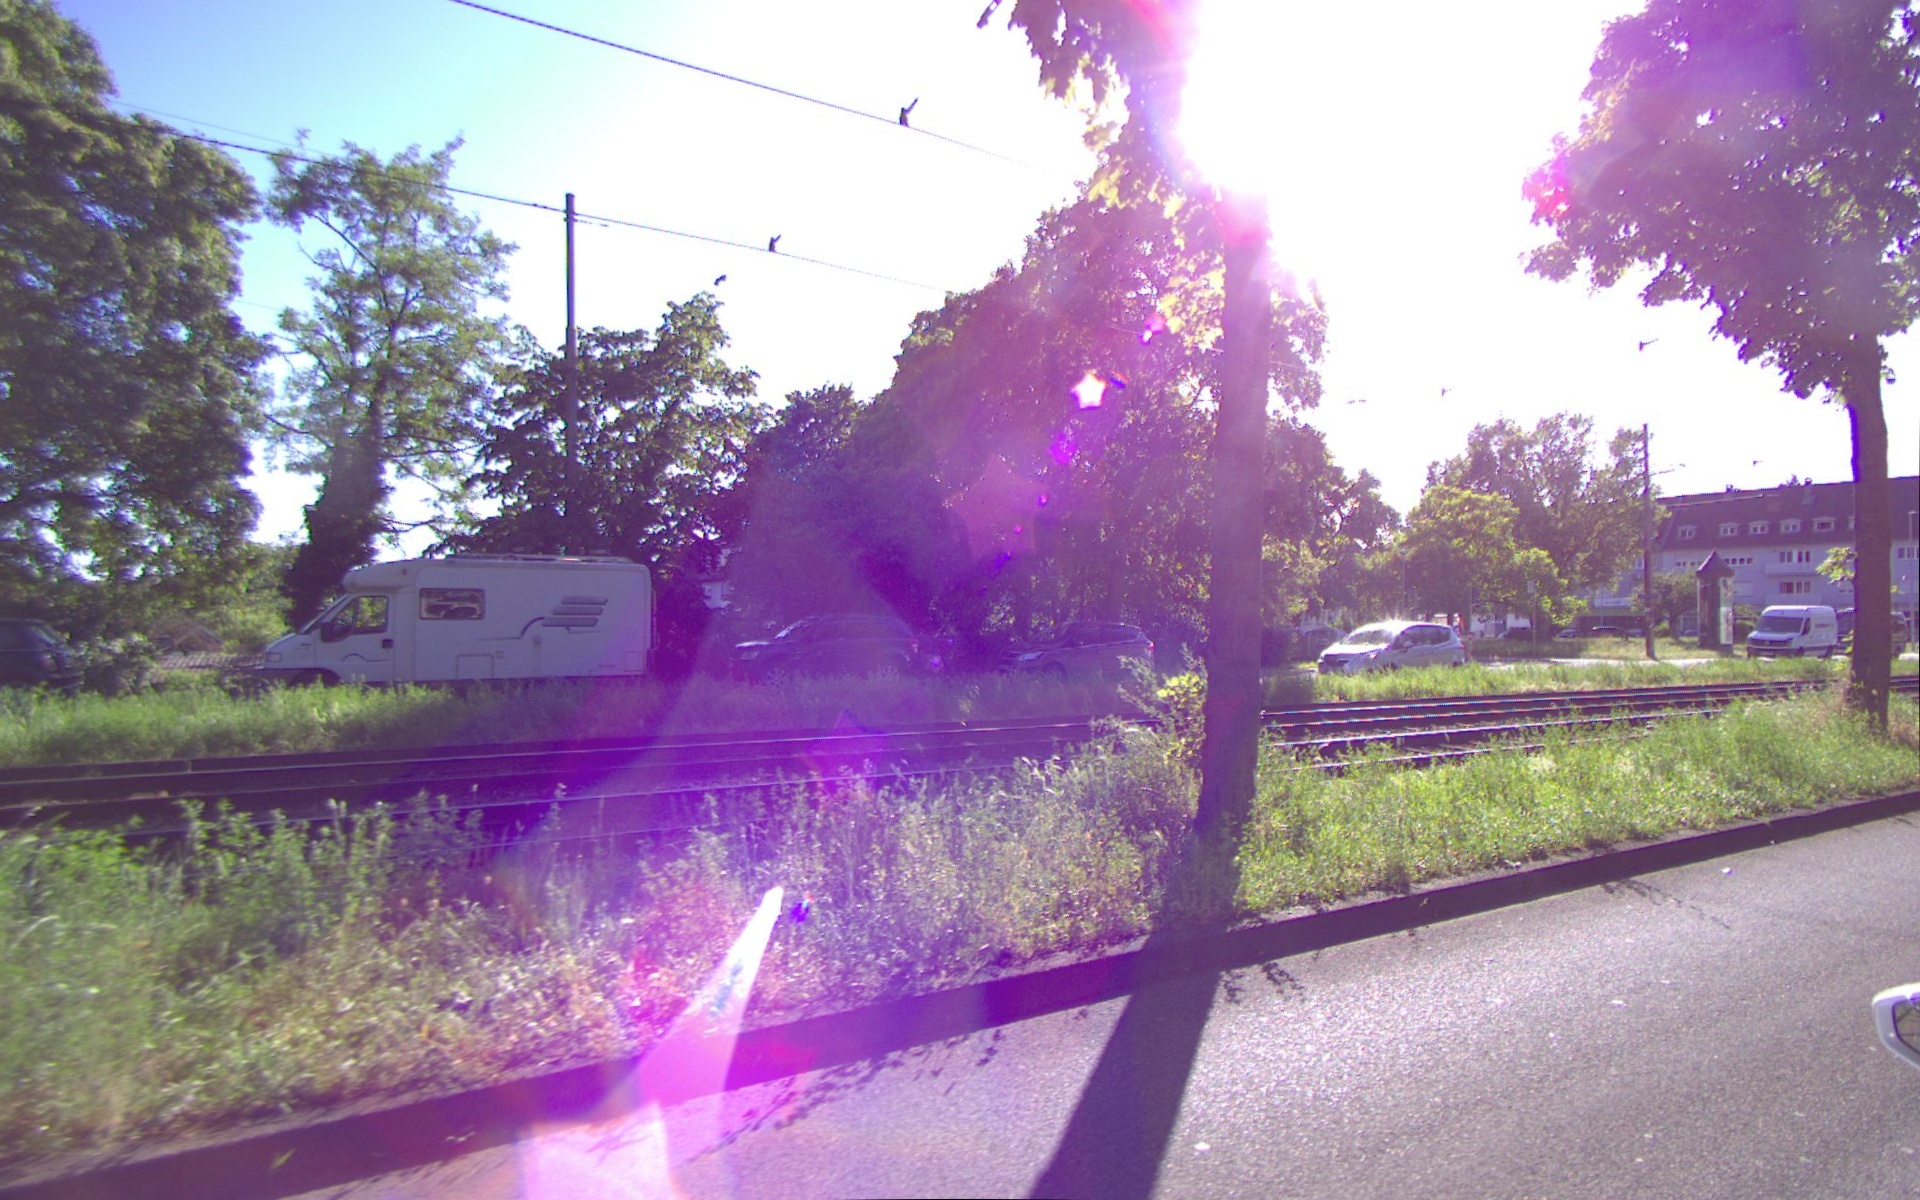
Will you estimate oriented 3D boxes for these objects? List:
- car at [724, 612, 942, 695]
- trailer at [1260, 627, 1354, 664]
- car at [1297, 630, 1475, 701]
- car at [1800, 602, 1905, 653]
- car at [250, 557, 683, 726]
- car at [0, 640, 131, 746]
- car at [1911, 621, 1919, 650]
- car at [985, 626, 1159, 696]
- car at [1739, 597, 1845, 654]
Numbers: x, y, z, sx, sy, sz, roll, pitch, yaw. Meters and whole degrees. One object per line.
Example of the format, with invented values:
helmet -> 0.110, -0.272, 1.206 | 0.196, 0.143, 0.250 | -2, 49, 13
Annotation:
car -> -2.750, 1.128, 22.086 | 4.481, 1.644, 1.614 | 1, 0, -31
trailer -> 15.811, 2.041, 45.853 | 3.703, 1.524, 1.745 | 0, -1, 40
car -> 10.485, 1.544, 24.649 | 4.390, 1.548, 1.719 | 1, 0, -30
car -> 45.477, 1.408, 51.134 | 6.390, 2.408, 2.172 | 1, 0, -31
car -> -8.695, 0.655, 18.292 | 6.720, 2.615, 2.214 | 0, 1, -31
car -> -15.013, 1.361, 14.862 | 3.952, 1.454, 1.703 | 1, 0, -30
car -> 57.388, 2.114, 58.381 | 4.718, 1.628, 1.814 | 1, 0, -31
car -> 2.859, 1.498, 25.396 | 4.196, 1.605, 1.667 | 1, 0, -29
car -> 39.464, 1.216, 47.622 | 6.068, 2.530, 1.991 | 1, 0, -32
